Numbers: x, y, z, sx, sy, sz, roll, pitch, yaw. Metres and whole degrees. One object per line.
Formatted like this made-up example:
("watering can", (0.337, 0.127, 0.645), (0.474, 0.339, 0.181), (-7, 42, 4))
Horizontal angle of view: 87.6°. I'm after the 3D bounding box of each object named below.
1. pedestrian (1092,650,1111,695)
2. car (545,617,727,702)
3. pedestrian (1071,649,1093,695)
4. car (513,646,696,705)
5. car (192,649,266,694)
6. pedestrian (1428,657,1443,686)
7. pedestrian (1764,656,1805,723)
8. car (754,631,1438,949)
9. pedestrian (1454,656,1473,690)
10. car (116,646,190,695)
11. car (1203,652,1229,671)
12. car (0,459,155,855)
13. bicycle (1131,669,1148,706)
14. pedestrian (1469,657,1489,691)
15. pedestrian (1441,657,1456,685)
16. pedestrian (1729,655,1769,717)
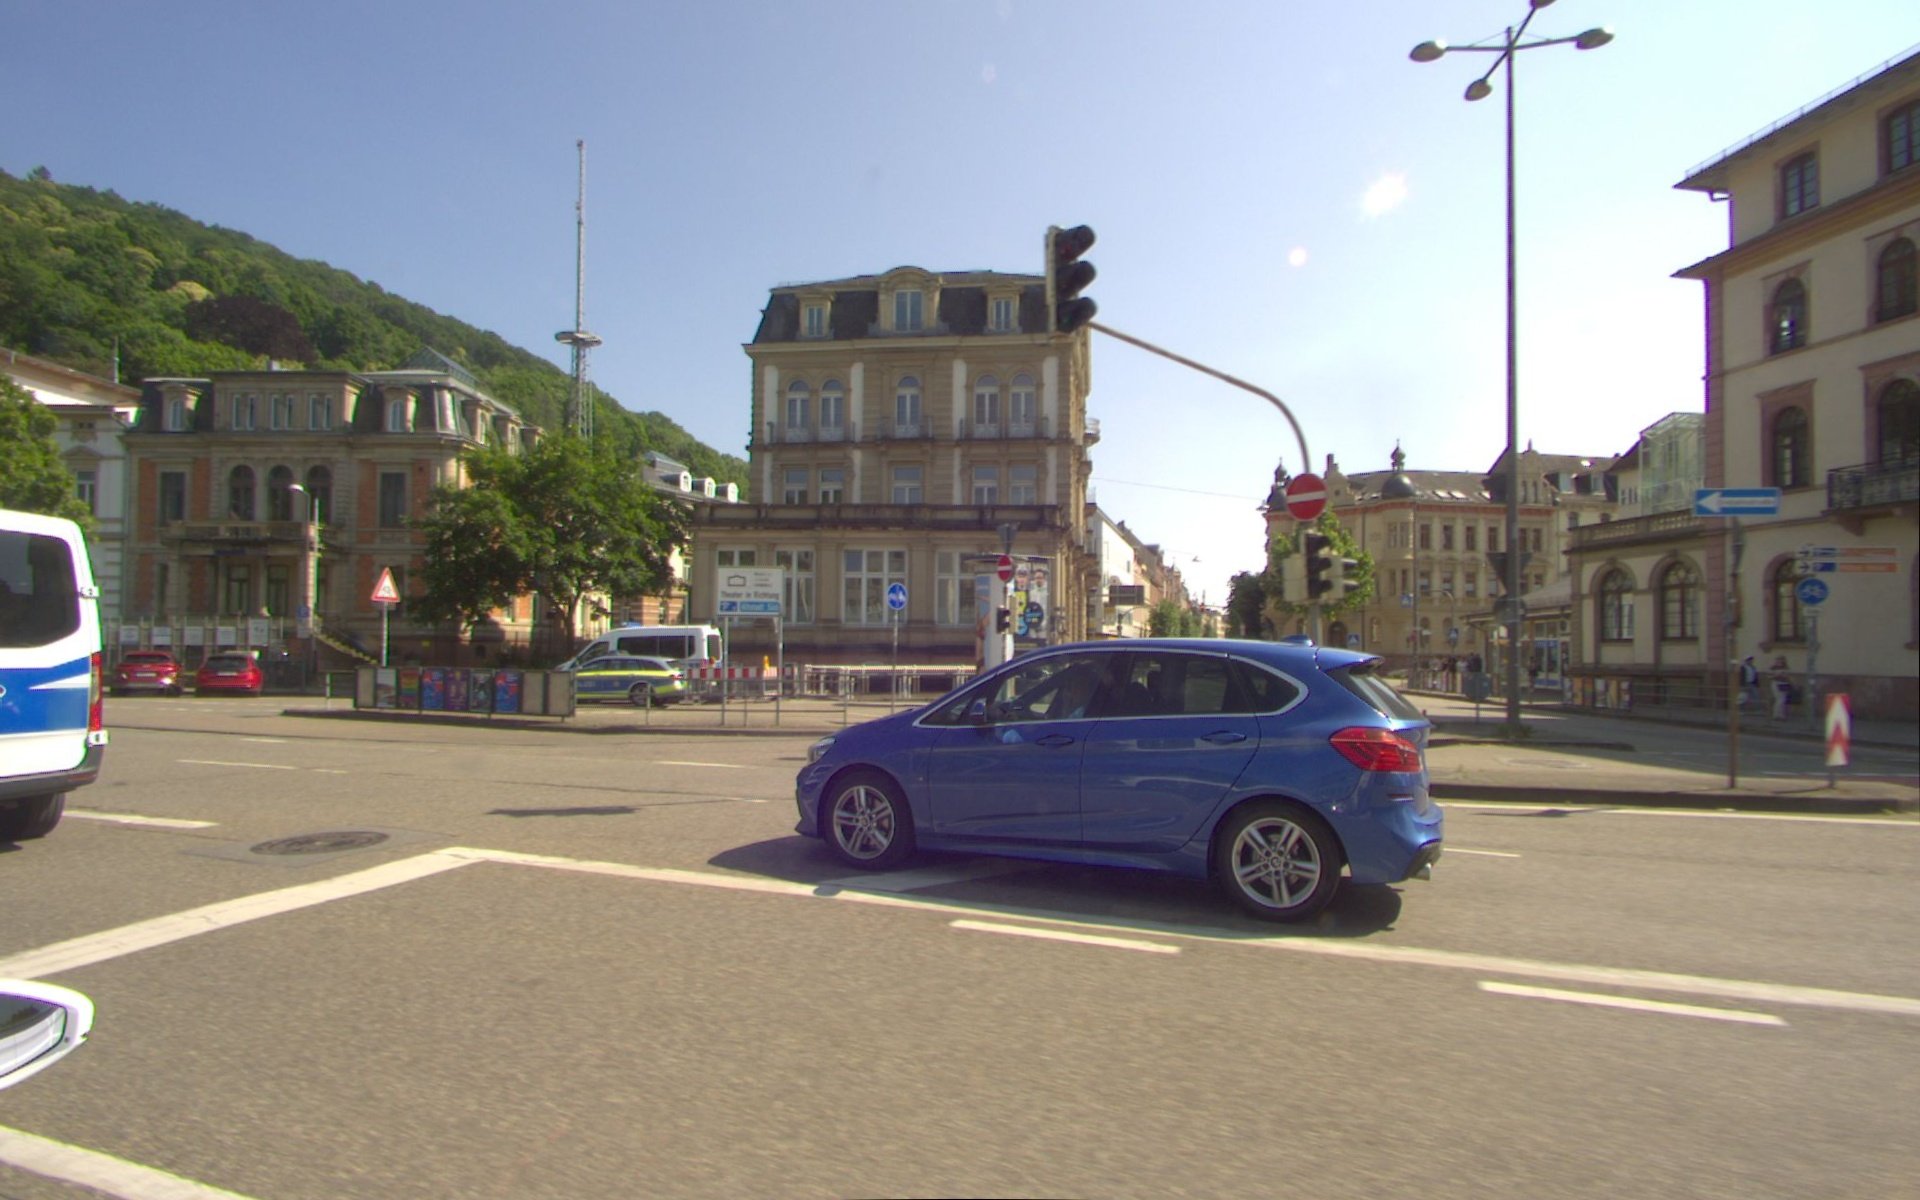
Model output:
("pedestrian", (5.555, 2.842, 39.374), (0.688, 1.773, 0.721), (0, -2, 12))
("car", (-10.454, 1.927, 32.562), (5.214, 2.636, 2.002), (1, -2, 1))
("pedestrian", (4.817, 2.829, 39.495), (0.805, 1.762, 0.751), (0, -2, 11))
("car", (-10.525, 2.227, 29.912), (4.784, 1.646, 1.824), (1, -3, 0))
("car", (-24.836, 2.404, 34.130), (1.726, 1.435, 3.681), (2, -3, -32))
("pedestrian", (27.893, 4.186, 58.728), (0.706, 1.624, 0.723), (0, -2, 19))
("pedestrian", (20.869, 2.261, 25.338), (0.568, 1.669, 0.535), (1, -2, -2))
("car", (0.852, 1.024, 6.697), (4.204, 1.560, 1.720), (-1, -4, 27))
("pedestrian", (24.558, 3.575, 48.874), (0.706, 1.624, 0.724), (0, -2, 16))
("car", (-27.884, 2.397, 34.684), (1.729, 1.594, 3.852), (2, -3, -35))
("car", (22.015, 5.289, 86.274), (1.845, 1.627, 3.869), (0, -3, 9))
("car", (-8.457, 0.399, 7.216), (4.847, 2.539, 2.076), (-1, -3, 23))
("bicycle", (5.938, 2.876, 33.212), (0.495, 1.113, 1.821), (0, -2, 9))
("pedestrian", (25.224, 3.583, 48.681), (0.706, 1.624, 0.724), (0, -2, 16))
("pedestrian", (28.617, 4.153, 58.636), (0.706, 1.624, 0.723), (0, -2, 19))
("pedestrian", (21.728, 2.366, 27.590), (0.661, 1.669, 0.535), (1, -2, -6))
